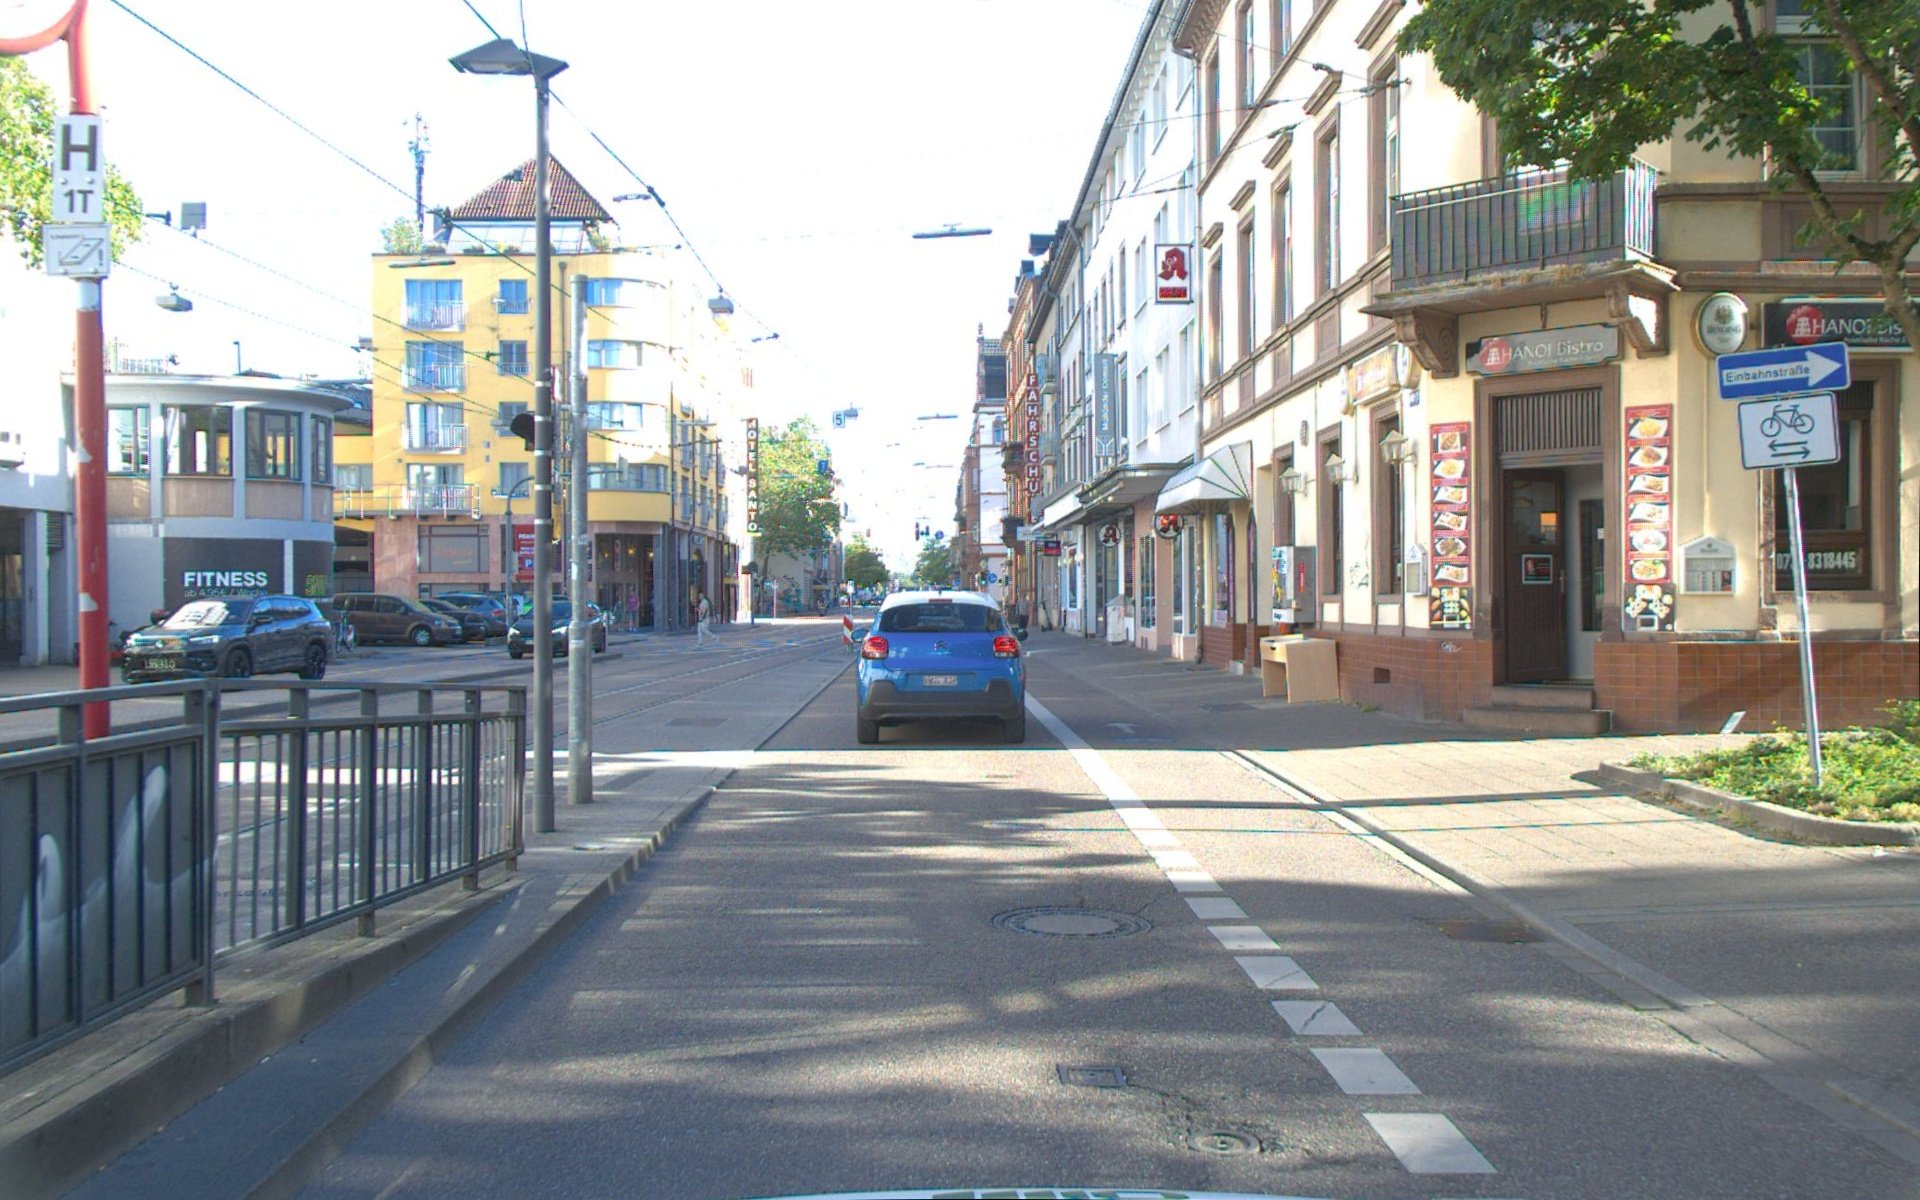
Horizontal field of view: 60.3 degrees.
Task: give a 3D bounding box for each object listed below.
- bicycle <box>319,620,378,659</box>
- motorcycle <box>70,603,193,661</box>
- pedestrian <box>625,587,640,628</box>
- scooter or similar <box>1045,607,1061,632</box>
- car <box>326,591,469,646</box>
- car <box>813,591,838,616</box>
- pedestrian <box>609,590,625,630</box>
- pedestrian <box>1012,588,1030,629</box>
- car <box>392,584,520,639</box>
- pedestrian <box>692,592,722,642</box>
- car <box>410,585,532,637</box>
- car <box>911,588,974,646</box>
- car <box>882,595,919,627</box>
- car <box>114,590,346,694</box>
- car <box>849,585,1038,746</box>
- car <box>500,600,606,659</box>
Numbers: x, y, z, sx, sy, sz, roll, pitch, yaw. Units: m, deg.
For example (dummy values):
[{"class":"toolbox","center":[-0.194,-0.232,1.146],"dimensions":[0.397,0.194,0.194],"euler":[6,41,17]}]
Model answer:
[{"class":"bicycle","center":[-17.003,1.088,46.068],"dimensions":[0.665,1.020,2.686],"euler":[0,0,0]},{"class":"motorcycle","center":[-19.124,0.726,38.194],"dimensions":[2.463,1.311,0.667],"euler":[0,0,-4]},{"class":"pedestrian","center":[-15.388,0.346,77.745],"dimensions":[0.683,1.890,0.838],"euler":[0,0,-13]},{"class":"scooter or similar","center":[3.629,0.752,64.414],"dimensions":[0.501,0.976,1.851],"euler":[0,0,0]},{"class":"car","center":[-17.862,0.569,52.658],"dimensions":[3.909,1.704,1.956],"euler":[0,0,-5]},{"class":"car","center":[-11.755,0.332,144.609],"dimensions":[1.954,2.049,3.997],"euler":[1,-1,-3]},{"class":"pedestrian","center":[-16.136,0.457,77.806],"dimensions":[0.683,1.862,0.838],"euler":[0,0,-13]},{"class":"pedestrian","center":[2.514,0.340,68.331],"dimensions":[0.679,1.680,0.680],"euler":[0,0,-2]},{"class":"car","center":[-17.521,0.390,57.609],"dimensions":[3.909,1.880,1.956],"euler":[0,0,-5]},{"class":"pedestrian","center":[-8.569,0.566,55.979],"dimensions":[0.829,1.683,0.691],"euler":[0,0,-29]},{"class":"car","center":[-17.810,0.386,60.400],"dimensions":[3.909,1.880,1.956],"euler":[0,0,-5]},{"class":"car","center":[-0.580,0.577,53.644],"dimensions":[1.953,1.773,3.999],"euler":[1,-1,-1]},{"class":"car","center":[-3.362,0.646,93.770],"dimensions":[1.953,1.773,3.999],"euler":[1,-1,-1]},{"class":"car","center":[-12.831,0.673,29.438],"dimensions":[1.716,1.643,4.830],"euler":[-2,0,3]},{"class":"car","center":[-0.186,0.612,17.343],"dimensions":[1.745,1.476,3.653],"euler":[1,0,-1]},{"class":"car","center":[-11.282,0.788,46.107],"dimensions":[1.911,1.512,4.000],"euler":[-2,0,0]}]
